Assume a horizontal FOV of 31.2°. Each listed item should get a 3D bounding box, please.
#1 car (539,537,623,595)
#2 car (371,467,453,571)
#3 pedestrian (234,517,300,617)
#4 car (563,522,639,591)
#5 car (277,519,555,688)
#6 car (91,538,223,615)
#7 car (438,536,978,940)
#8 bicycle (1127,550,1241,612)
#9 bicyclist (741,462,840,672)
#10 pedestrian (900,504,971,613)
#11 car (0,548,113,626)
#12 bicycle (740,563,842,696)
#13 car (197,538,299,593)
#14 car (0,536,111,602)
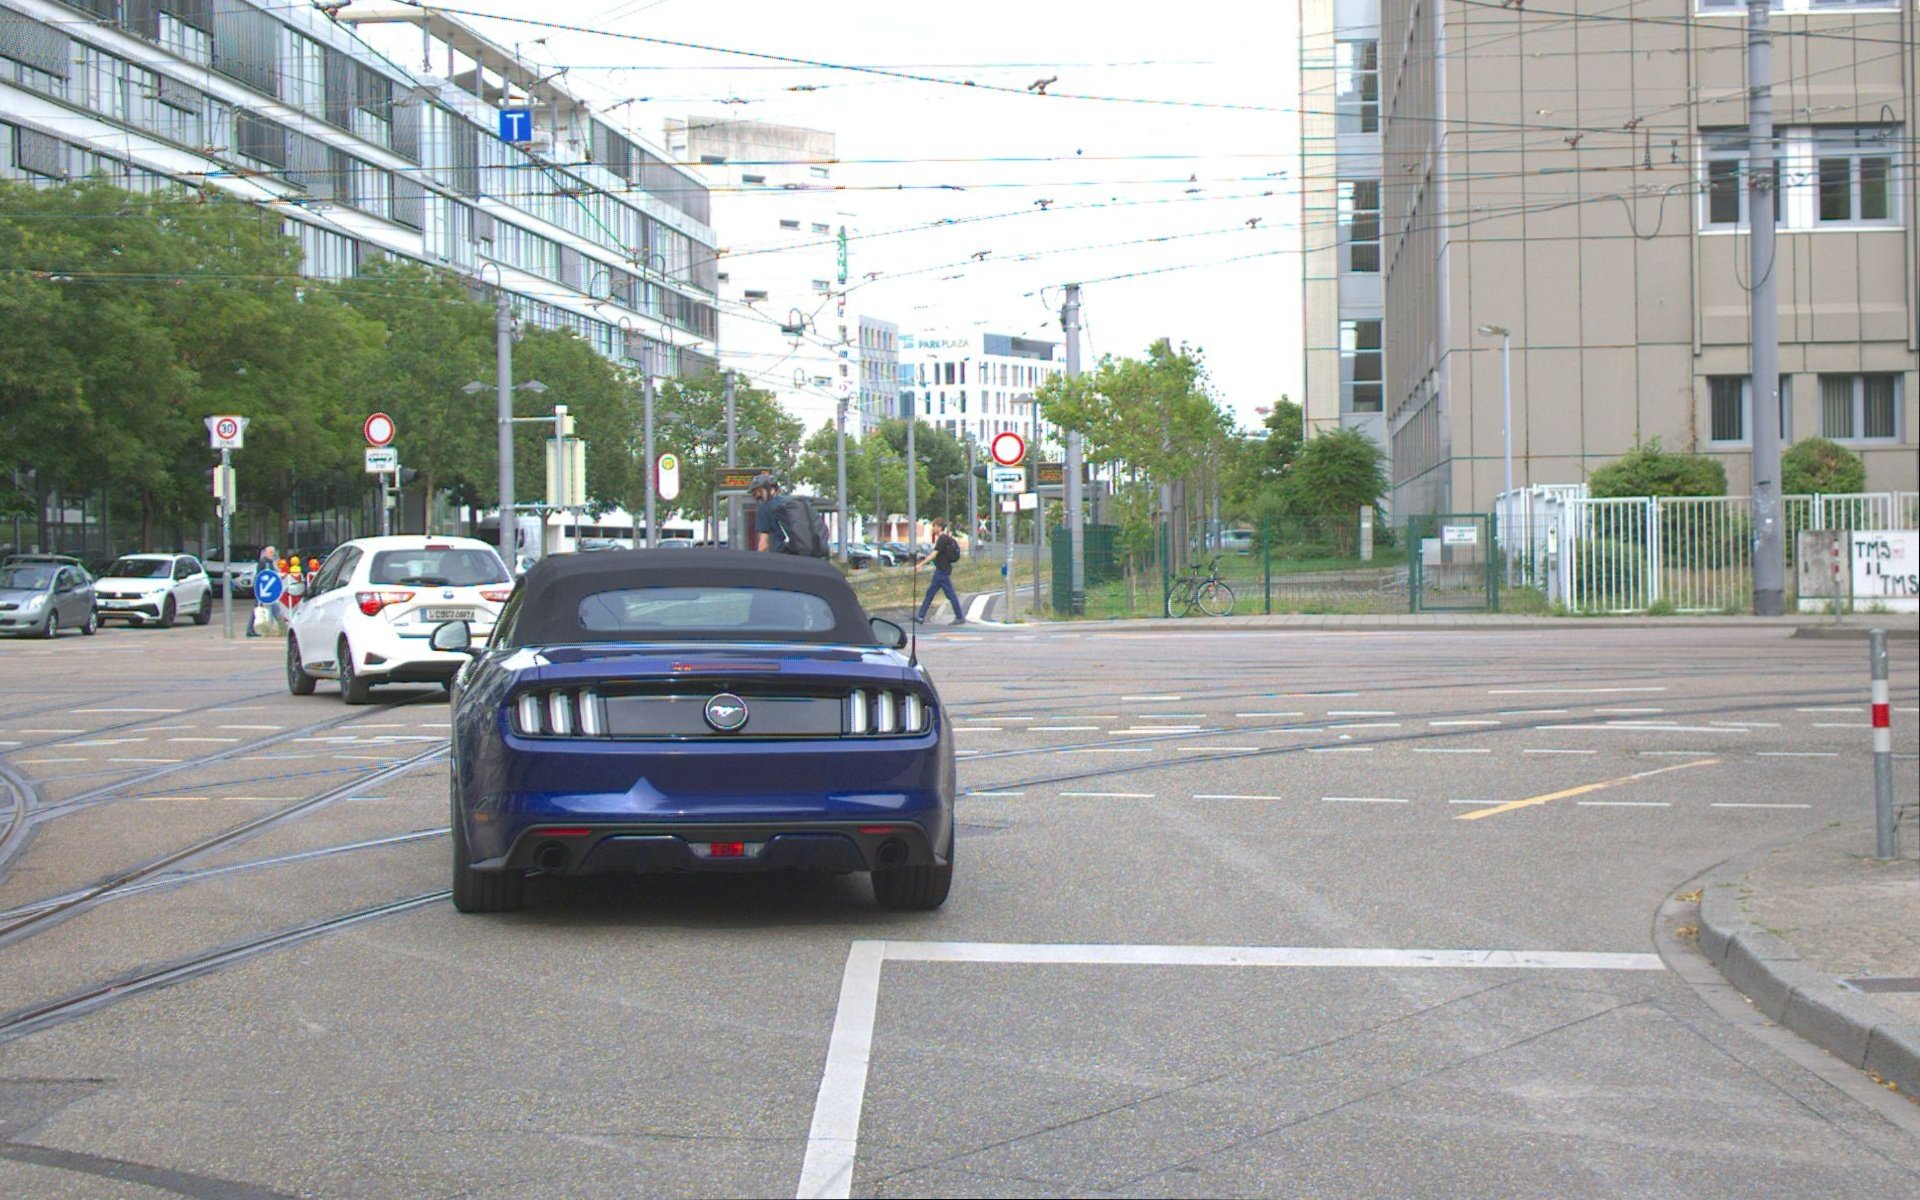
[{"bbox_3d":[-10.831,-1.001,98.393,1.868,1.600,4.213,-1,1,1],"label":"car"},{"bbox_3d":[-19.606,-2.904,123.136,1.986,3.624,4.512,1,1,2],"label":"car"},{"bbox_3d":[-13.007,-0.628,64.550,0.989,1.849,0.902,-1,1,4],"label":"pedestrian"},{"bbox_3d":[-10.771,-1.321,103.307,1.785,1.980,4.121,-1,1,1],"label":"car"},{"bbox_3d":[-5.130,-0.002,32.012,1.834,1.434,4.188,-1,1,-19],"label":"car"},{"bbox_3d":[-18.192,-0.556,78.084,1.715,1.654,4.132,1,1,5],"label":"car"},{"bbox_3d":[-1.153,0.450,14.204,1.875,1.399,4.283,1,1,-7],"label":"car"},{"bbox_3d":[3.910,-0.326,60.161,0.632,0.977,2.157,-2,-1,-41],"label":"bicycle"},{"bbox_3d":[-1.461,-0.292,29.807,0.796,1.779,1.233,-1,1,-1],"label":"bicyclist"},{"bbox_3d":[-0.434,-0.739,60.653,1.086,1.891,0.901,-1,1,10],"label":"pedestrian"},{"bbox_3d":[-18.951,-0.296,70.726,1.668,1.501,4.234,1,1,5],"label":"car"},{"bbox_3d":[-1.443,0.234,29.643,0.800,1.083,2.132,-1,1,-1],"label":"bicycle"},{"bbox_3d":[-21.541,-1.064,104.182,1.986,1.551,4.512,1,1,2],"label":"car"},{"bbox_3d":[-22.836,-0.794,86.005,1.830,1.551,4.216,1,1,5],"label":"car"}]
